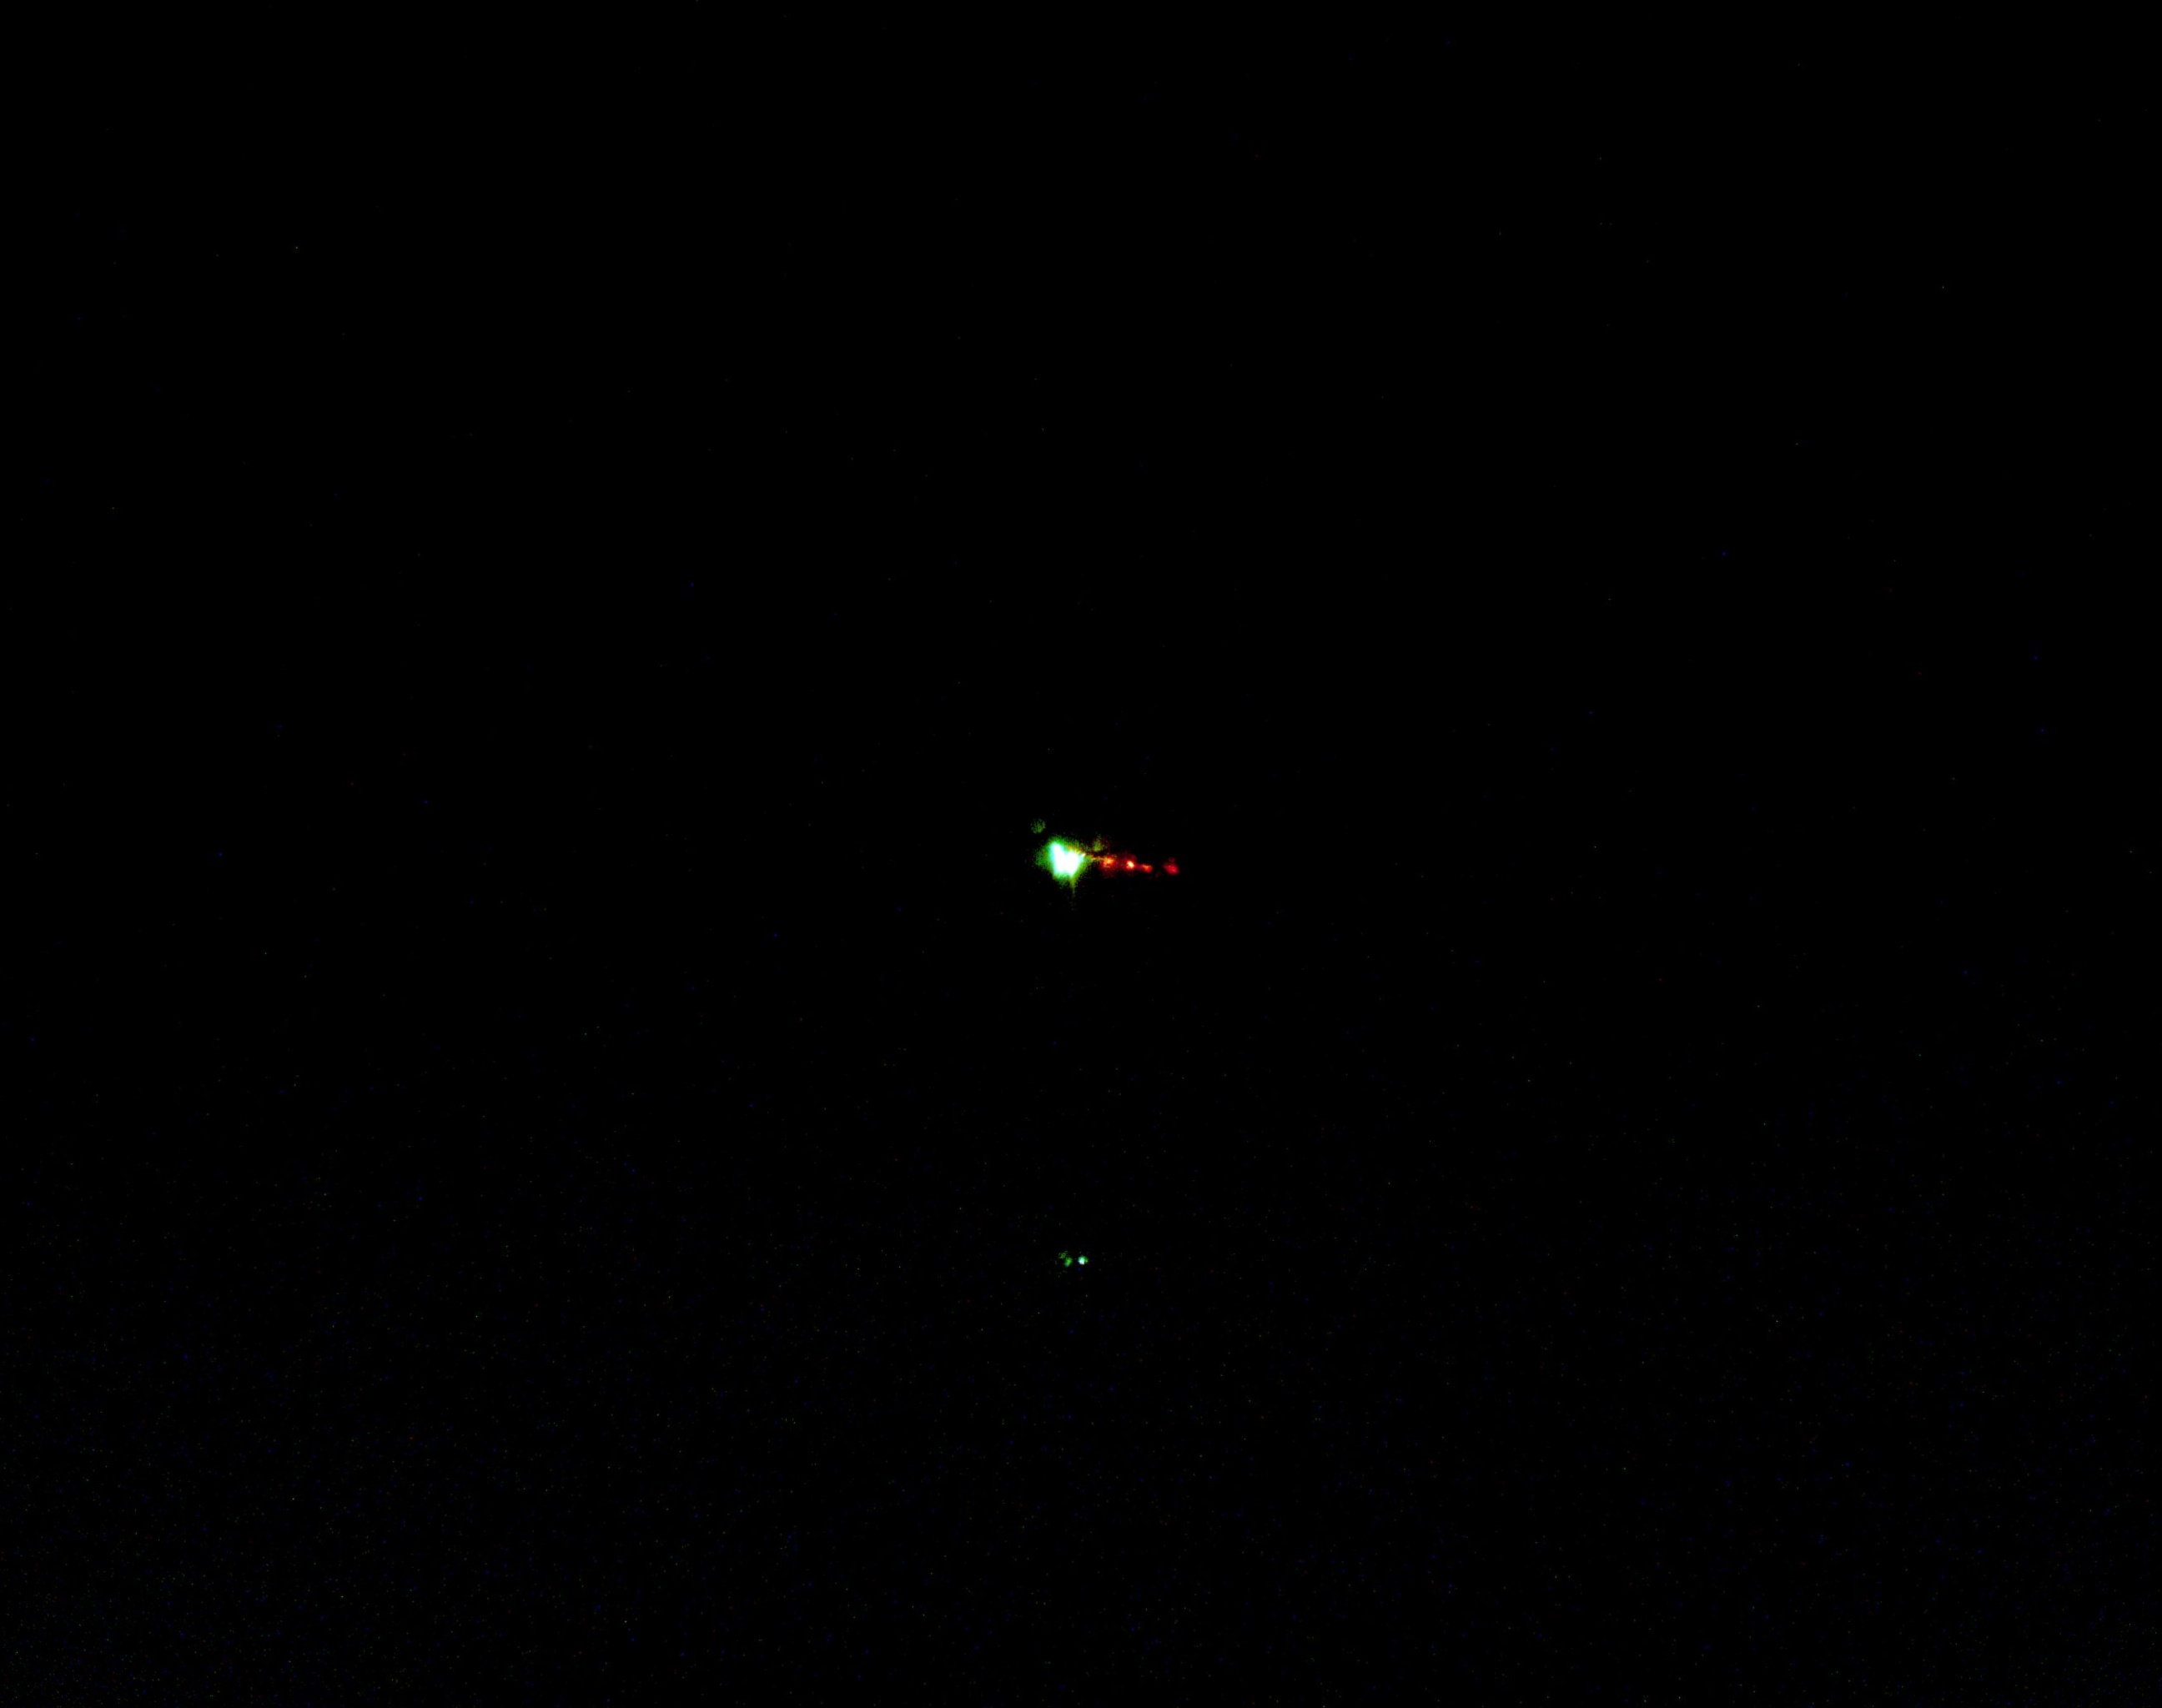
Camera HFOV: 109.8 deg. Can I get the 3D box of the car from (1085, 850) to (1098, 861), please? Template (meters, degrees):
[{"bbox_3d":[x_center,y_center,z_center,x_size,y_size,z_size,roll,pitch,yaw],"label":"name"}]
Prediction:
[{"bbox_3d":[1.666,0.203,124.590,1.999,1.652,3.998,0,1,-1],"label":"car"}]

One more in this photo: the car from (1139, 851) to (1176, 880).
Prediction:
[{"bbox_3d":[4.078,0.589,40.988,1.600,1.394,3.469,0,1,-1],"label":"car"}]

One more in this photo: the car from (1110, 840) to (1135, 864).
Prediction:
[{"bbox_3d":[3.383,-0.213,62.552,1.808,1.917,3.999,0,1,0],"label":"car"}]

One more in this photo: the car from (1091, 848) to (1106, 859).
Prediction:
[{"bbox_3d":[2.390,-0.027,104.922,1.824,1.433,3.998,0,1,-1],"label":"car"}]

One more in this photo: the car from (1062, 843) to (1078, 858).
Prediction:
[{"bbox_3d":[-1.493,-0.507,101.586,1.999,2.002,3.998,0,1,-1],"label":"car"}]

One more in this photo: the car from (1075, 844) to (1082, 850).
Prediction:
[{"bbox_3d":[-0.709,-2.035,225.750,1.999,1.540,3.999,-2,0,-2],"label":"car"}]
